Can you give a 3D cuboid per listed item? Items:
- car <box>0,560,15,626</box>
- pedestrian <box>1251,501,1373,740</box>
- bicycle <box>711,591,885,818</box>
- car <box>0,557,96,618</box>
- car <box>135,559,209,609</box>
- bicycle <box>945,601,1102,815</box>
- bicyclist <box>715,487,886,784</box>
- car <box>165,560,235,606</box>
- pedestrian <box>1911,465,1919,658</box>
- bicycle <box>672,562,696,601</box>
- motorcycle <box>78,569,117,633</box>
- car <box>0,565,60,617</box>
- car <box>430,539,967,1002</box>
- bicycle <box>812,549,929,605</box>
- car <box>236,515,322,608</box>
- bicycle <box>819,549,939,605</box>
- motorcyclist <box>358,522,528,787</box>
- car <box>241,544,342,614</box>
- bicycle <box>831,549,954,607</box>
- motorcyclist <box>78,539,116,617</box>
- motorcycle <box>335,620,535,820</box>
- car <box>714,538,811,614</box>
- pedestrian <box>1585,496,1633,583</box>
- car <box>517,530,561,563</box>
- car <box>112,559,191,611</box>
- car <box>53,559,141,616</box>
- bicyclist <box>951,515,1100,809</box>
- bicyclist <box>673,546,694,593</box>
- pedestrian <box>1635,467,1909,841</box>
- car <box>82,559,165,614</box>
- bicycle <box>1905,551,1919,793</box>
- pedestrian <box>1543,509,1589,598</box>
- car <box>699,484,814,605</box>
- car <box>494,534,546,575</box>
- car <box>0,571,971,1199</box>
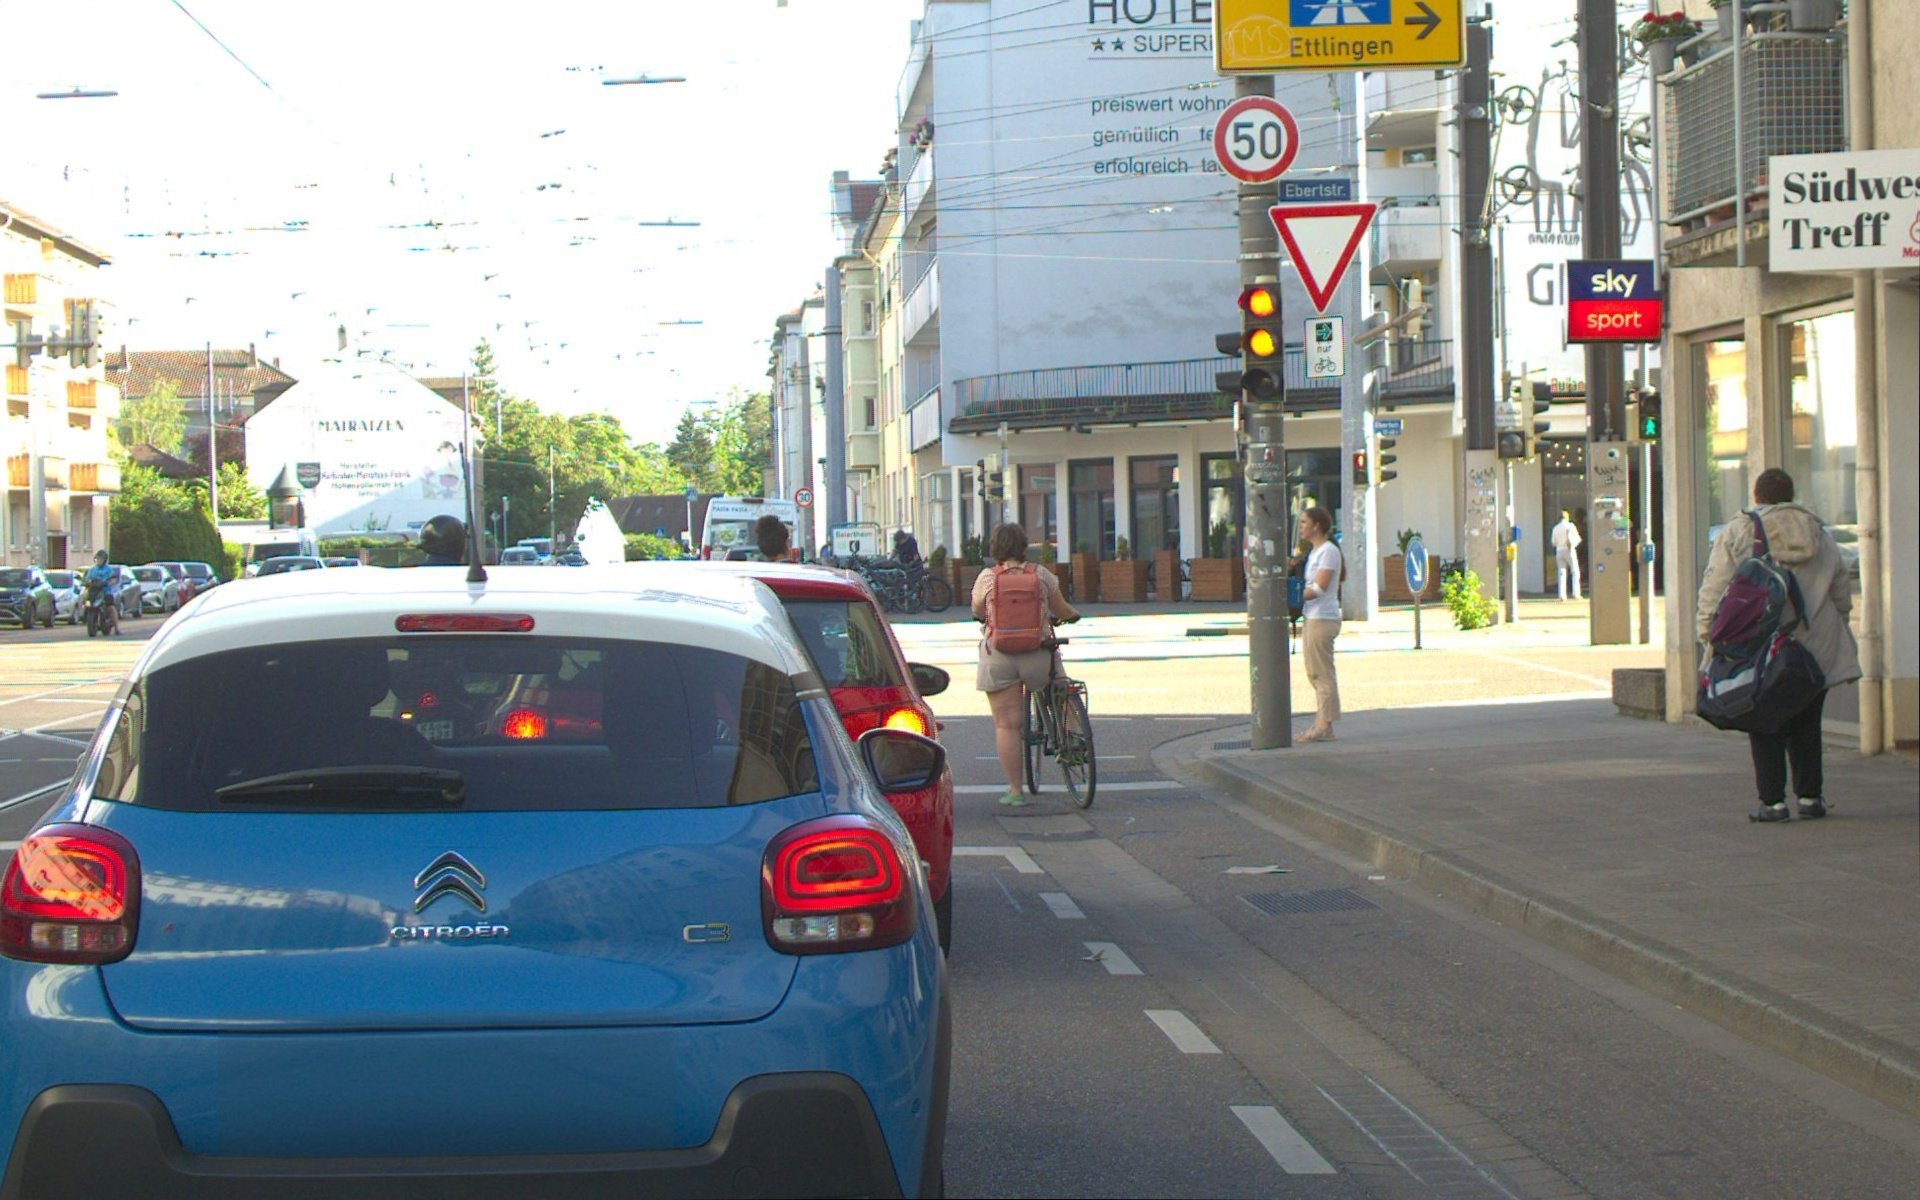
[{"bbox_3d":[-23.185,-0.163,79.479,1.741,1.521,4.230,1,1,-4],"label":"car"},{"bbox_3d":[2.480,0.138,24.176,0.540,1.618,0.732,-5,-1,21],"label":"pedestrian"},{"bbox_3d":[-0.921,0.572,19.967,0.940,1.219,2.095,1,1,-2],"label":"bicycle"},{"bbox_3d":[-24.389,-0.343,92.067,1.869,1.571,4.001,1,1,-6],"label":"car"},{"bbox_3d":[-25.820,-0.531,112.697,1.869,1.571,4.001,1,1,-6],"label":"car"},{"bbox_3d":[0.400,0.607,20.439,0.811,1.177,2.064,1,1,4],"label":"bicycle"},{"bbox_3d":[-0.918,0.197,19.984,0.940,1.667,1.079,1,0,-2],"label":"bicyclist"},{"bbox_3d":[-26.277,-0.601,118.969,1.869,1.571,4.001,1,1,-6],"label":"car"},{"bbox_3d":[5.805,-0.228,19.229,0.623,1.084,0.679,-3,2,-37],"label":"pedestrian"},{"bbox_3d":[-11.919,-0.822,148.366,0.791,1.664,2.230,1,1,1],"label":"bicycle"},{"bbox_3d":[-16.800,0.029,66.972,0.711,1.216,1.966,-1,-1,-14],"label":"motorcycle"},{"bbox_3d":[-23.934,-0.245,86.140,1.946,1.235,4.283,1,1,-5],"label":"car"},{"bbox_3d":[-1.048,0.547,13.456,1.784,1.516,3.763,1,1,-5],"label":"car"},{"bbox_3d":[-1.784,-0.458,68.279,2.251,0.998,0.856,-3,1,-5],"label":"bicycle"},{"bbox_3d":[-23.552,-1.324,119.064,2.417,3.131,3.489,1,0,-3],"label":"car"},{"bbox_3d":[-1.591,-0.451,67.167,2.251,0.998,0.856,-3,1,-5],"label":"bicycle"},{"bbox_3d":[-2.967,0.304,19.774,0.855,1.483,0.729,1,0,-1],"label":"motorcyclist"},{"bbox_3d":[-14.830,-0.475,76.416,1.778,1.481,3.829,-2,1,-5],"label":"car"},{"bbox_3d":[-1.301,-0.424,65.800,2.251,0.998,0.856,-3,1,-5],"label":"bicycle"},{"bbox_3d":[-16.848,-0.424,67.155,0.693,1.491,0.684,-1,-1,-14],"label":"motorcyclist"},{"bbox_3d":[-2.966,0.658,19.613,0.855,1.043,1.942,1,1,-1],"label":"motorcycle"},{"bbox_3d":[-3.921,-0.482,67.841,1.657,1.426,3.889,1,1,-7],"label":"car"},{"bbox_3d":[12.127,-1.128,64.236,0.611,1.603,0.667,1,1,42],"label":"pedestrian"},{"bbox_3d":[-23.004,-2.907,187.825,2.074,1.756,5.037,1,1,-4],"label":"car"},{"bbox_3d":[-25.359,-0.477,107.938,1.869,1.571,4.001,1,1,-6],"label":"car"},{"bbox_3d":[-24.602,-0.368,98.127,1.869,1.571,4.001,1,1,-6],"label":"car"},{"bbox_3d":[0.398,0.352,20.323,0.811,1.686,0.935,1,0,4],"label":"bicyclist"},{"bbox_3d":[-11.912,-1.302,148.364,0.791,2.018,0.986,1,0,1],"label":"bicyclist"},{"bbox_3d":[3.638,0.223,15.450,0.884,1.586,0.811,-4,2,-8],"label":"pedestrian"},{"bbox_3d":[-24.967,-0.419,102.694,1.869,1.571,4.001,1,1,-6],"label":"car"},{"bbox_3d":[4.881,0.348,15.763,0.496,1.157,1.777,-1,0,-3],"label":"bicycle"},{"bbox_3d":[10.918,-0.836,61.925,0.610,1.603,0.668,1,0,27],"label":"pedestrian"},{"bbox_3d":[-4.342,-1.162,72.811,2.265,2.473,5.009,0,1,-5],"label":"car"},{"bbox_3d":[-21.730,-2.246,169.959,2.218,1.925,4.950,1,1,-4],"label":"car"},{"bbox_3d":[-0.880,0.673,7.192,1.736,1.447,3.663,0,1,-1],"label":"car"}]
